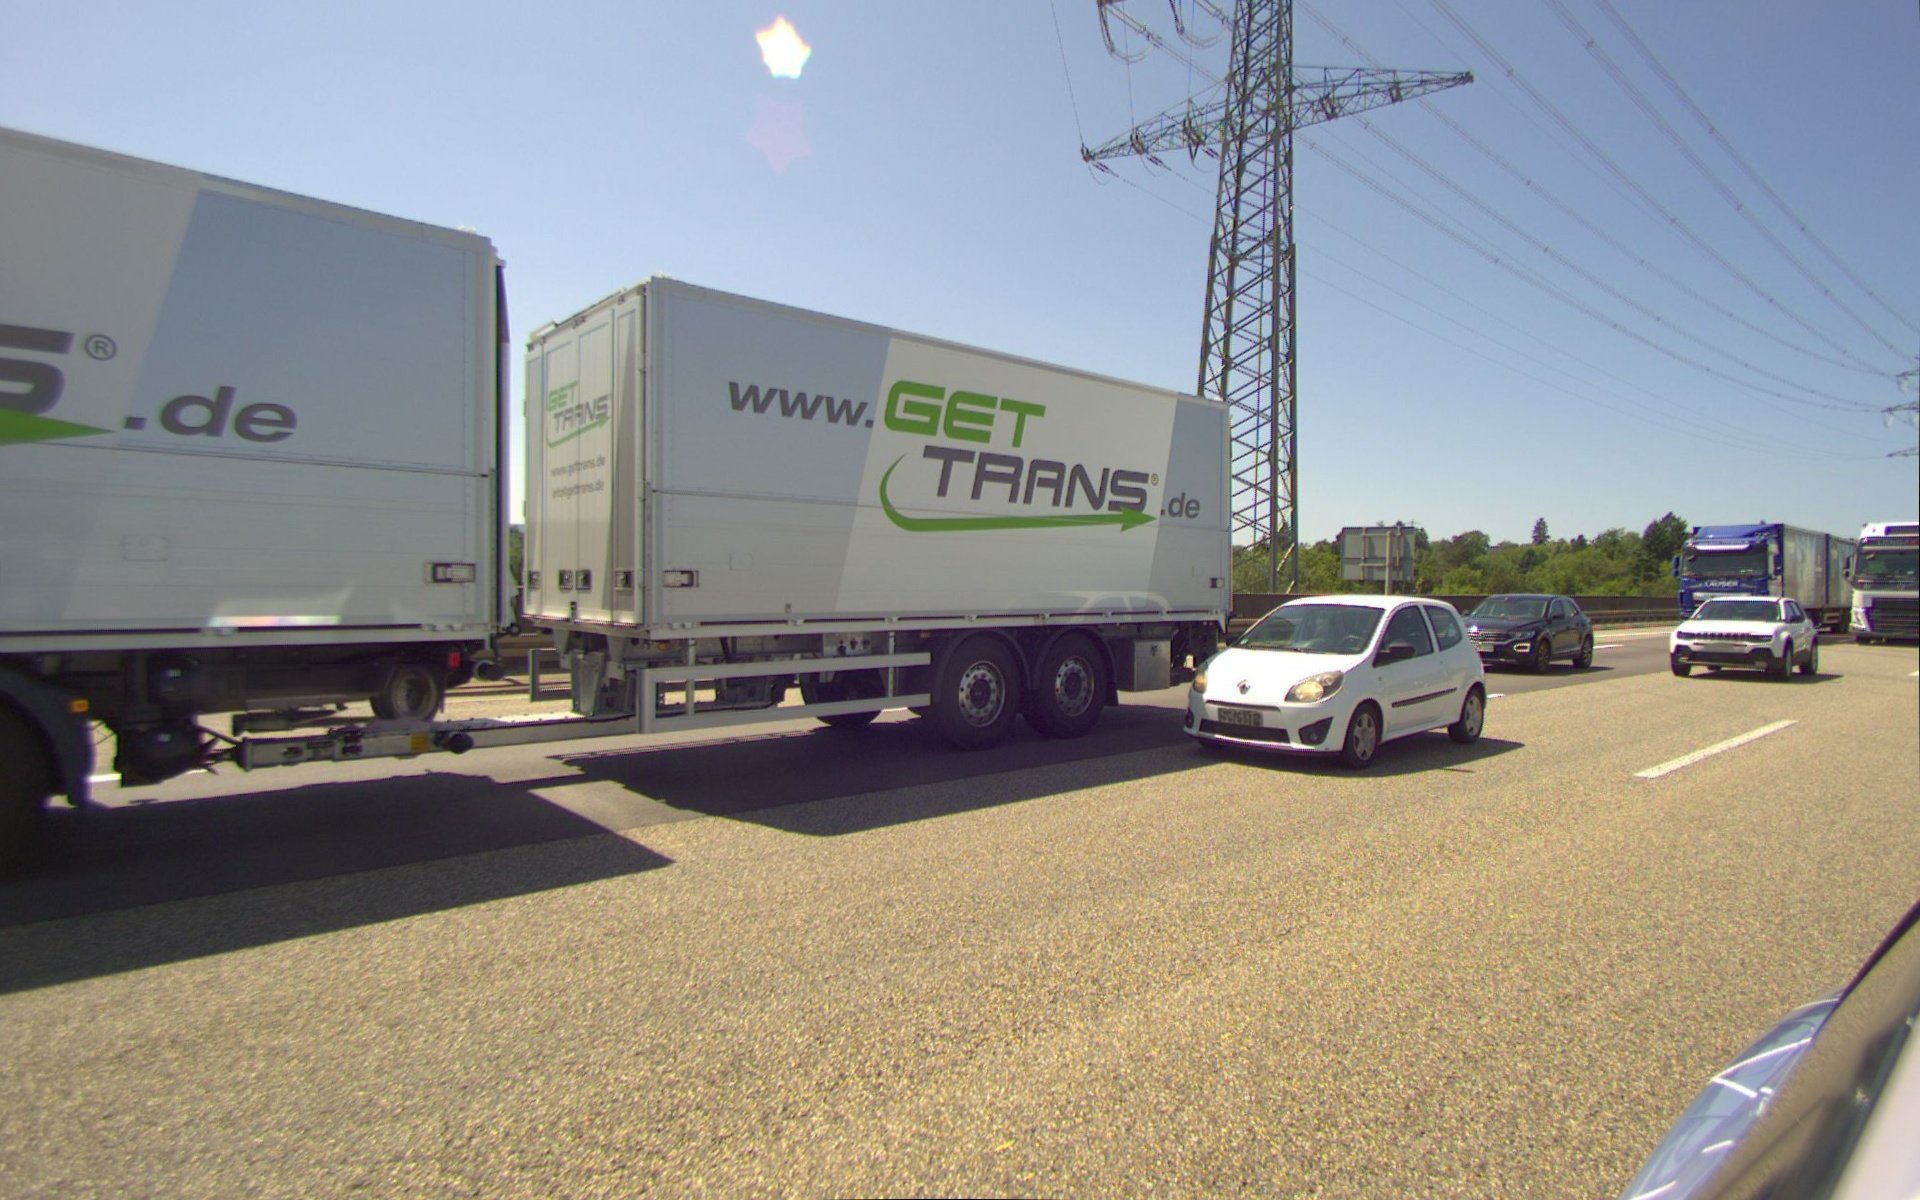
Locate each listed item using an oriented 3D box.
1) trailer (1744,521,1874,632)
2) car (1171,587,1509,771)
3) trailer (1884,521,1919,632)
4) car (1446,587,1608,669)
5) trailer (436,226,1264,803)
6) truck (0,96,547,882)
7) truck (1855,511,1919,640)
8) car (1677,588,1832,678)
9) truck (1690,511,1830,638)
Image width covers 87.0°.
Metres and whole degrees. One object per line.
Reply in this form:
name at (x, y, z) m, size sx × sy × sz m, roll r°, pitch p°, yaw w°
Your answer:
trailer at (35.097, -0.944, 41.631) m, size 10.697 × 4.044 × 2.541 m, roll -1°, pitch 0°, yaw -41°
car at (3.779, 0.610, 9.798) m, size 3.566 × 1.458 × 1.582 m, roll 0°, pitch 1°, yaw -41°
trailer at (37.868, -0.907, 38.551) m, size 9.605 × 3.918 × 2.895 m, roll -1°, pitch 0°, yaw -41°
car at (11.656, 0.502, 20.720) m, size 3.820 × 1.524 × 1.708 m, roll 0°, pitch 1°, yaw -41°
trailer at (-0.440, -0.559, 10.164) m, size 8.147 × 3.640 × 2.849 m, roll 0°, pitch 0°, yaw -41°
truck at (-7.486, -0.491, 3.912) m, size 10.582 × 3.648 × 2.855 m, roll -1°, pitch 0°, yaw -41°
truck at (31.774, -0.786, 33.143) m, size 6.624 × 3.941 × 2.911 m, roll -1°, pitch 0°, yaw -41°
car at (15.301, 0.557, 19.436) m, size 3.688 × 1.554 × 1.720 m, roll 0°, pitch 1°, yaw -41°
truck at (28.171, -0.828, 35.493) m, size 7.790 × 4.018 × 2.515 m, roll 0°, pitch 0°, yaw -42°
